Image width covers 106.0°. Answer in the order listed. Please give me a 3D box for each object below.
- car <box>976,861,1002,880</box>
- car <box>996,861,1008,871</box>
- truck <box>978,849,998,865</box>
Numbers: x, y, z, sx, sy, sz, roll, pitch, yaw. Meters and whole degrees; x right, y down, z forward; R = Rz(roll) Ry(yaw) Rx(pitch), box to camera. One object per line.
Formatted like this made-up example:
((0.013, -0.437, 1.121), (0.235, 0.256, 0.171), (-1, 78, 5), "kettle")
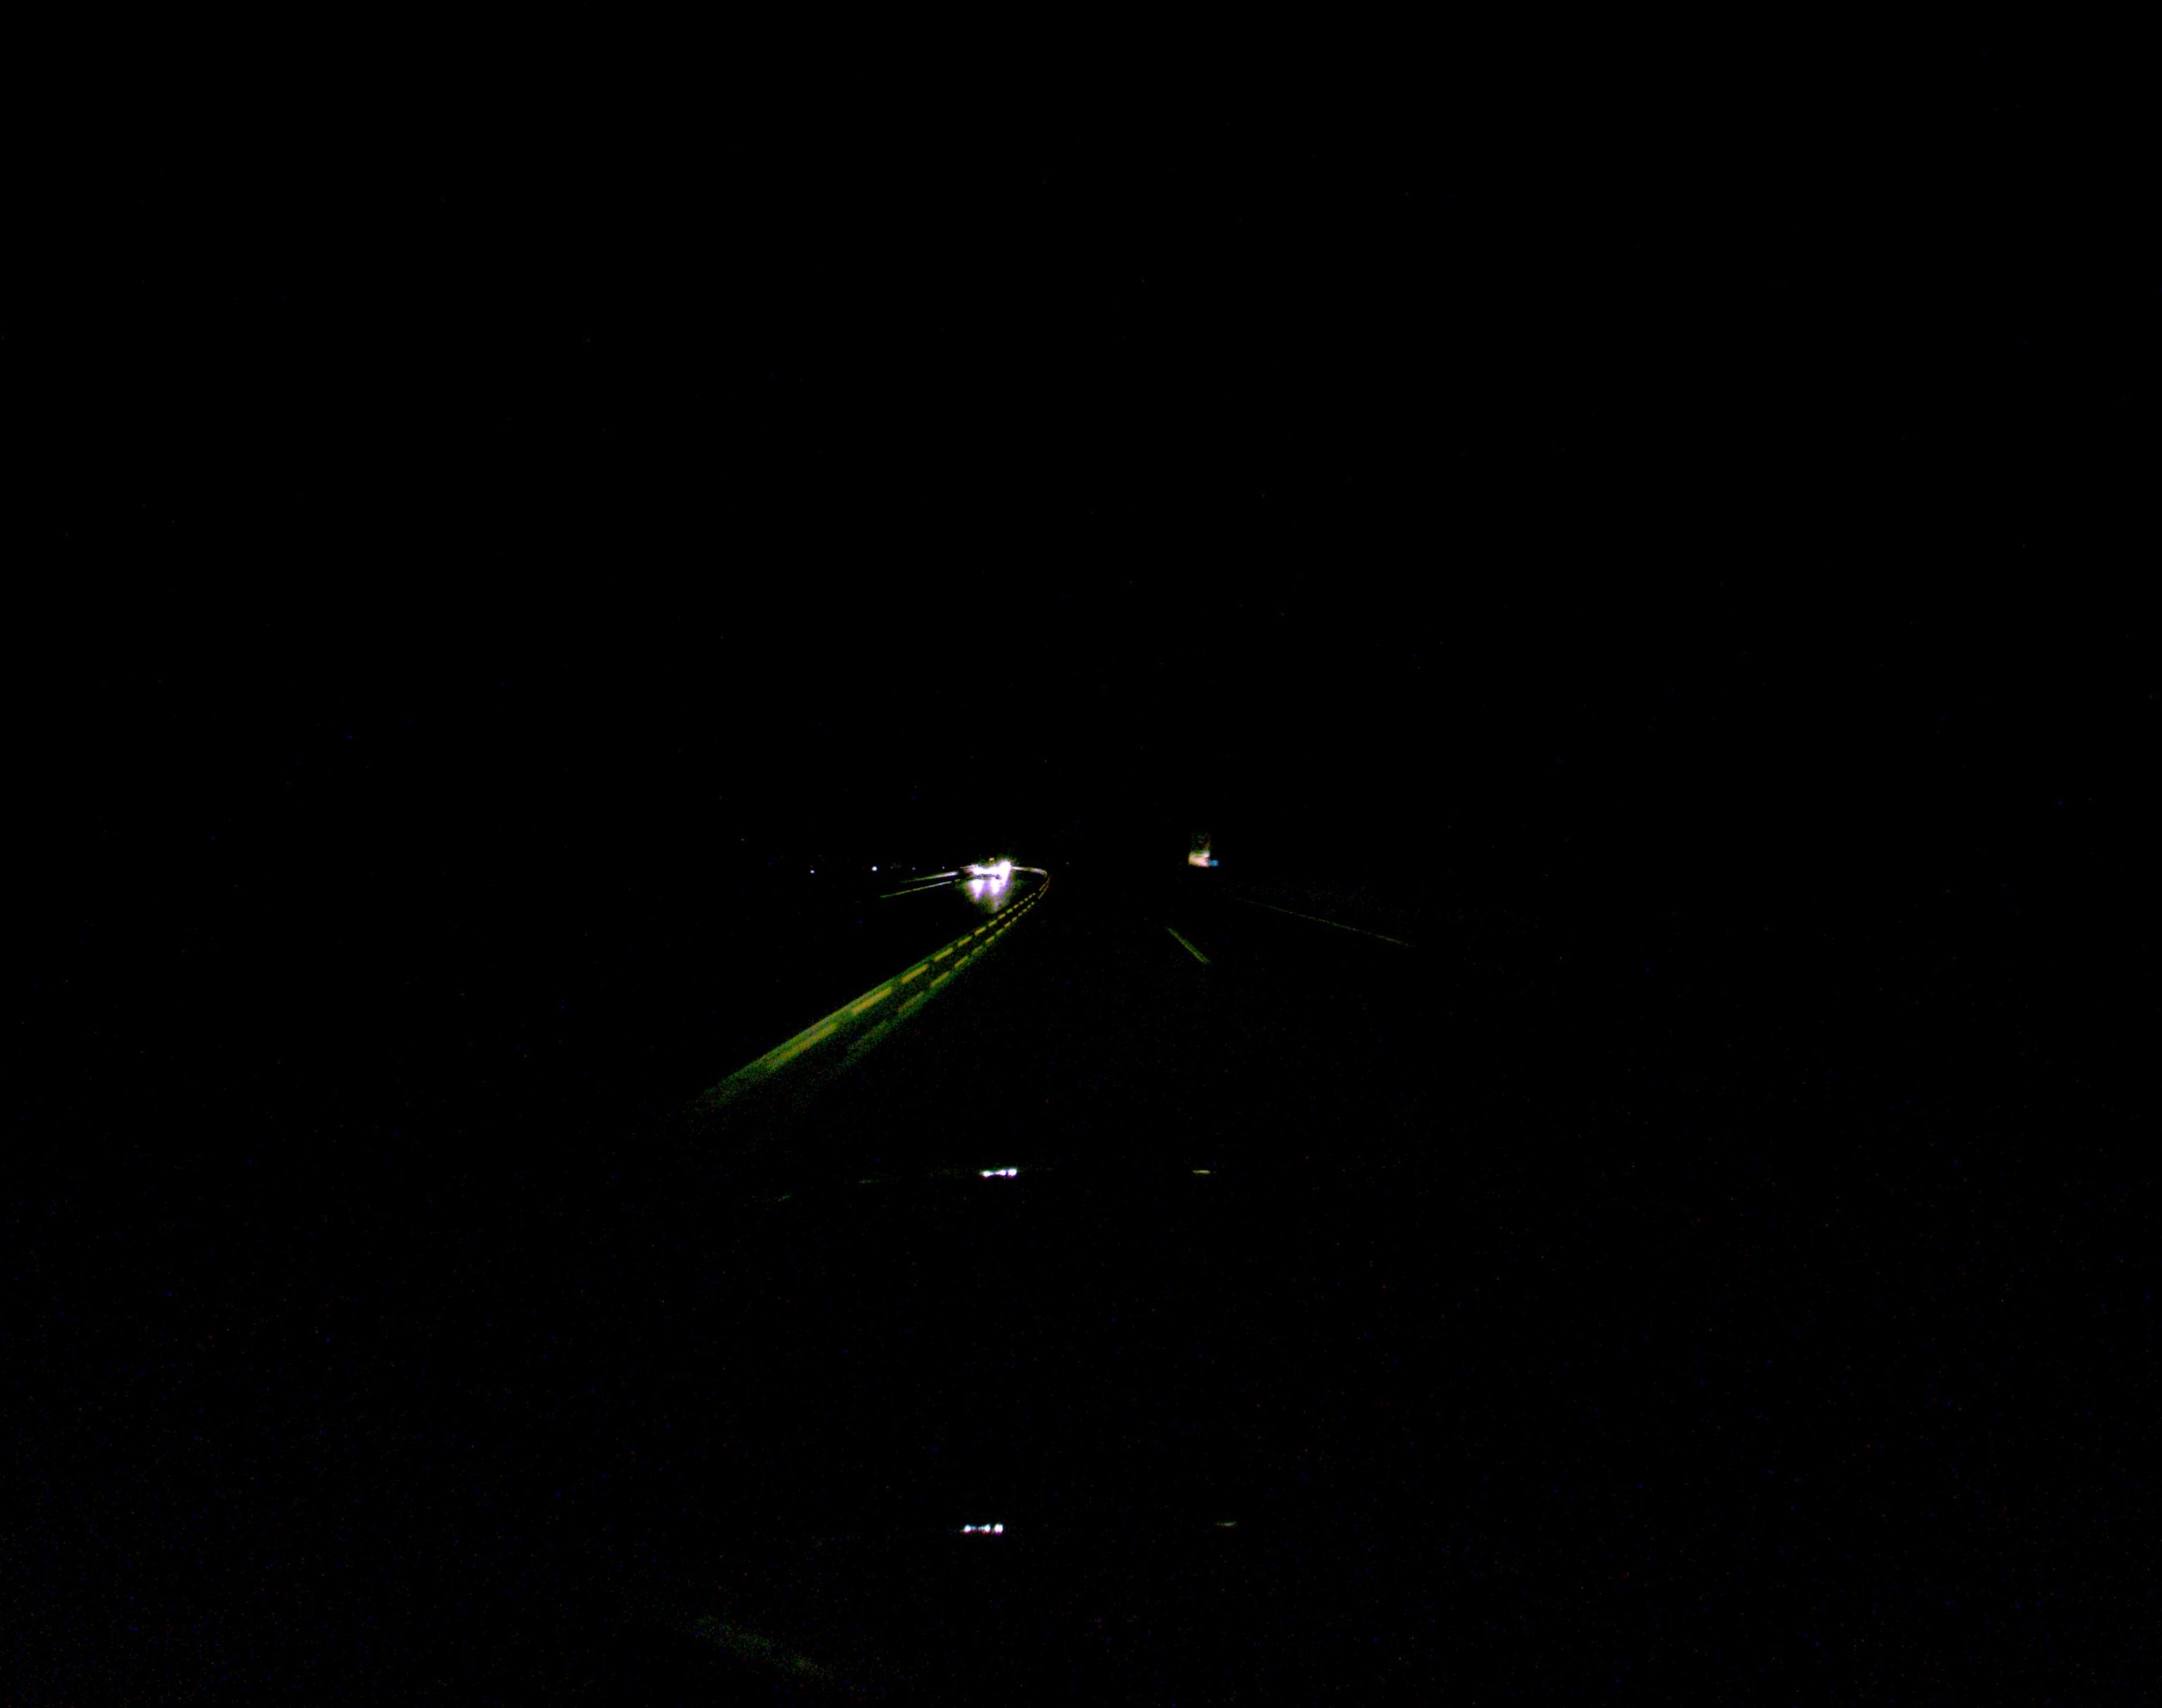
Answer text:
((-7.435, 1.359, 66.052), (1.708, 1.443, 4.482), (-2, -1, -2), "car")
((-11.674, 1.816, 120.592), (1.714, 1.380, 4.235), (-1, -1, -5), "car")
((-29.407, 1.047, 257.120), (4.020, 4.552, 13.877), (-2, -1, -16), "truck")
